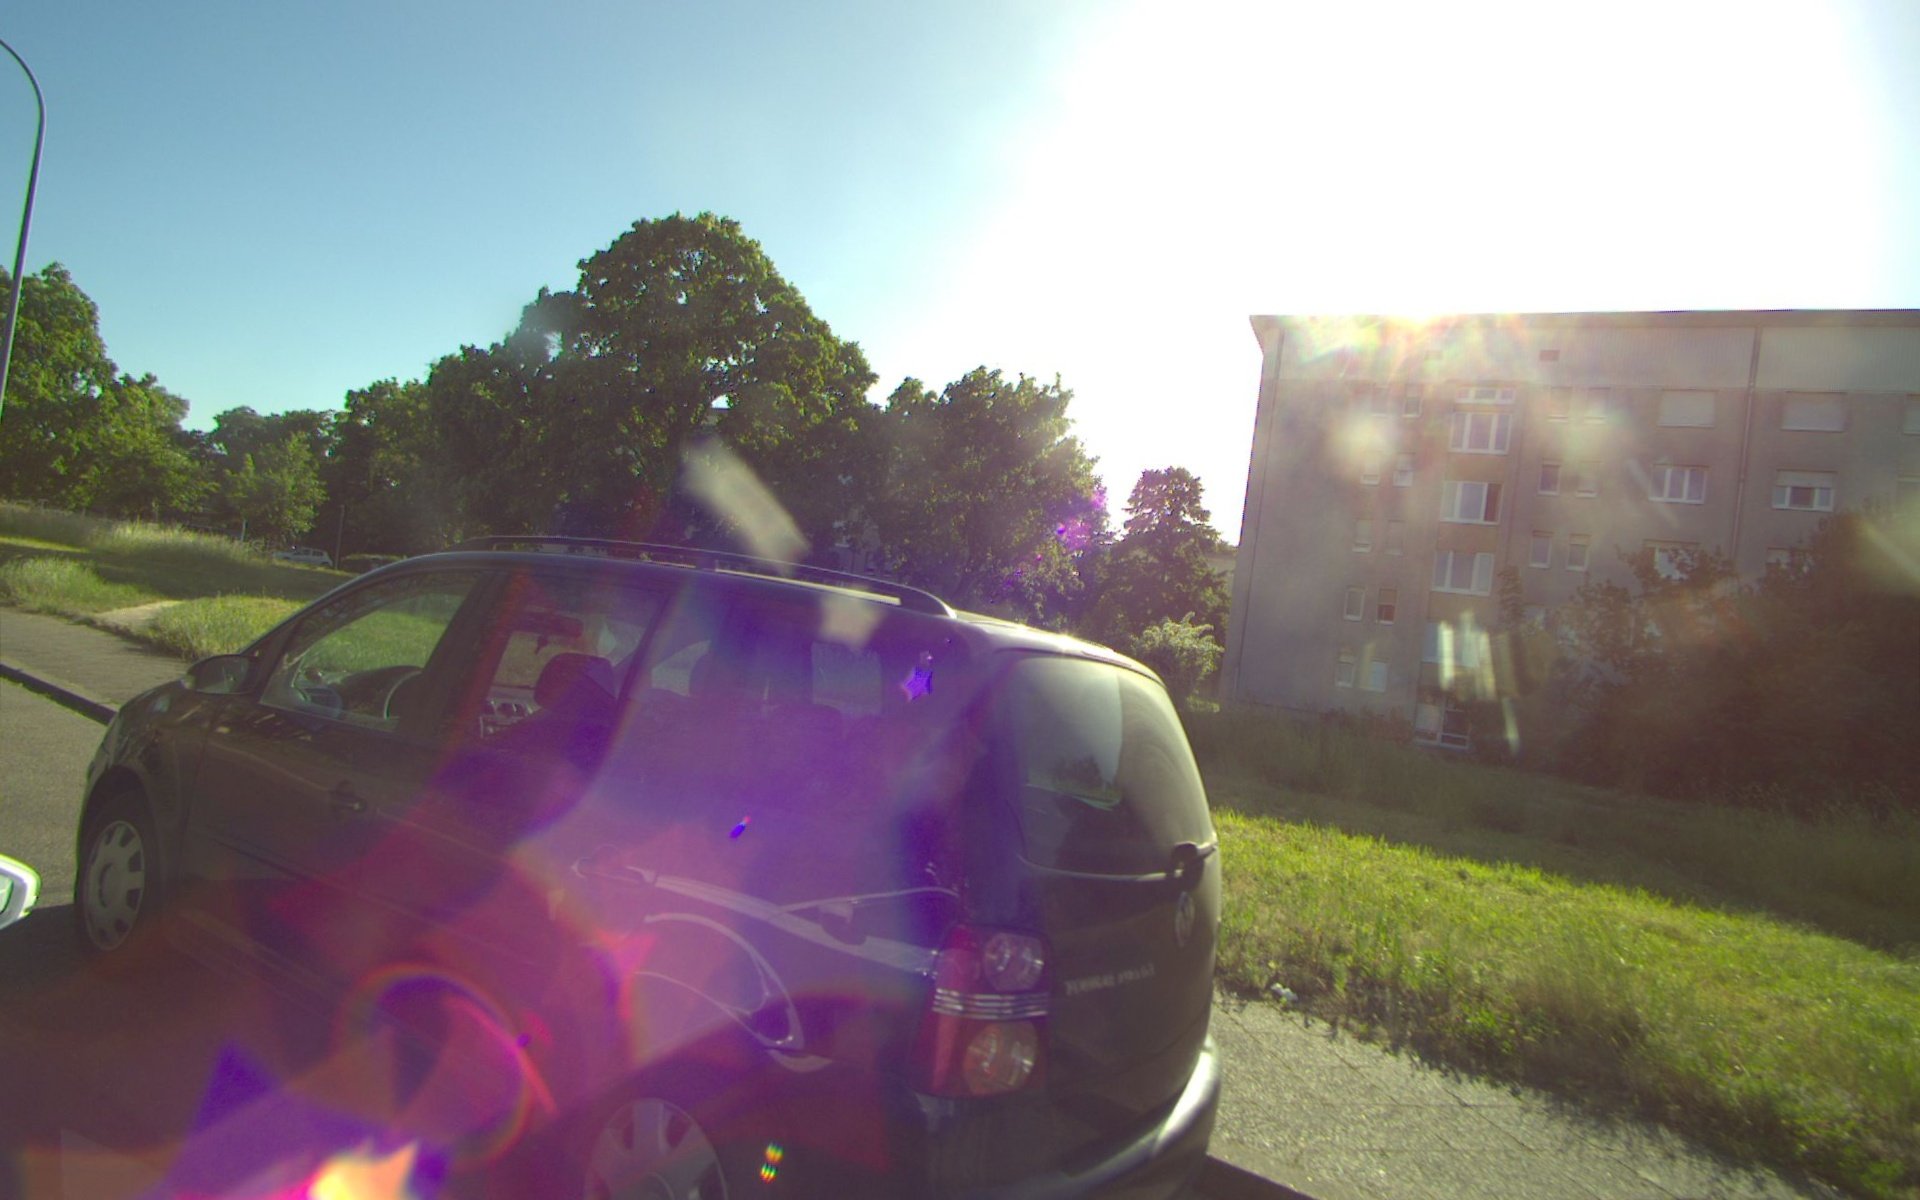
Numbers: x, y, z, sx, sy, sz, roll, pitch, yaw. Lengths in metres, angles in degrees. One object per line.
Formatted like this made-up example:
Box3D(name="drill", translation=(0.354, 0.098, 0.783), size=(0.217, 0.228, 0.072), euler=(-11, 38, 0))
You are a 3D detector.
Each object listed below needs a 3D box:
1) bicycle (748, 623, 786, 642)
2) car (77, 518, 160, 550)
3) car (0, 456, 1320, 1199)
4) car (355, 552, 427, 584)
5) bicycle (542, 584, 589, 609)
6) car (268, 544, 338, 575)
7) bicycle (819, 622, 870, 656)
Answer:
Box3D(name="bicycle", translation=(-11.279, 1.880, 58.683), size=(2.266, 0.821, 0.694), euler=(7, -2, 33))
Box3D(name="car", translation=(-56.357, -4.402, 67.426), size=(1.761, 1.413, 3.867), euler=(9, -2, 39))
Box3D(name="car", translation=(-1.298, 0.632, 3.474), size=(4.392, 1.669, 1.845), euler=(7, -3, 30))
Box3D(name="car", translation=(-45.020, -2.516, 79.630), size=(1.974, 1.828, 4.448), euler=(7, -2, 44))
Box3D(name="bicycle", translation=(-25.967, -0.229, 66.222), size=(2.645, 1.218, 0.942), euler=(8, -1, 9))
Box3D(name="car", translation=(-49.411, -3.057, 75.679), size=(1.970, 1.629, 3.868), euler=(7, -3, 38))
Box3D(name="bicycle", translation=(-6.430, 2.164, 55.916), size=(2.707, 1.543, 0.782), euler=(6, -1, 27))
